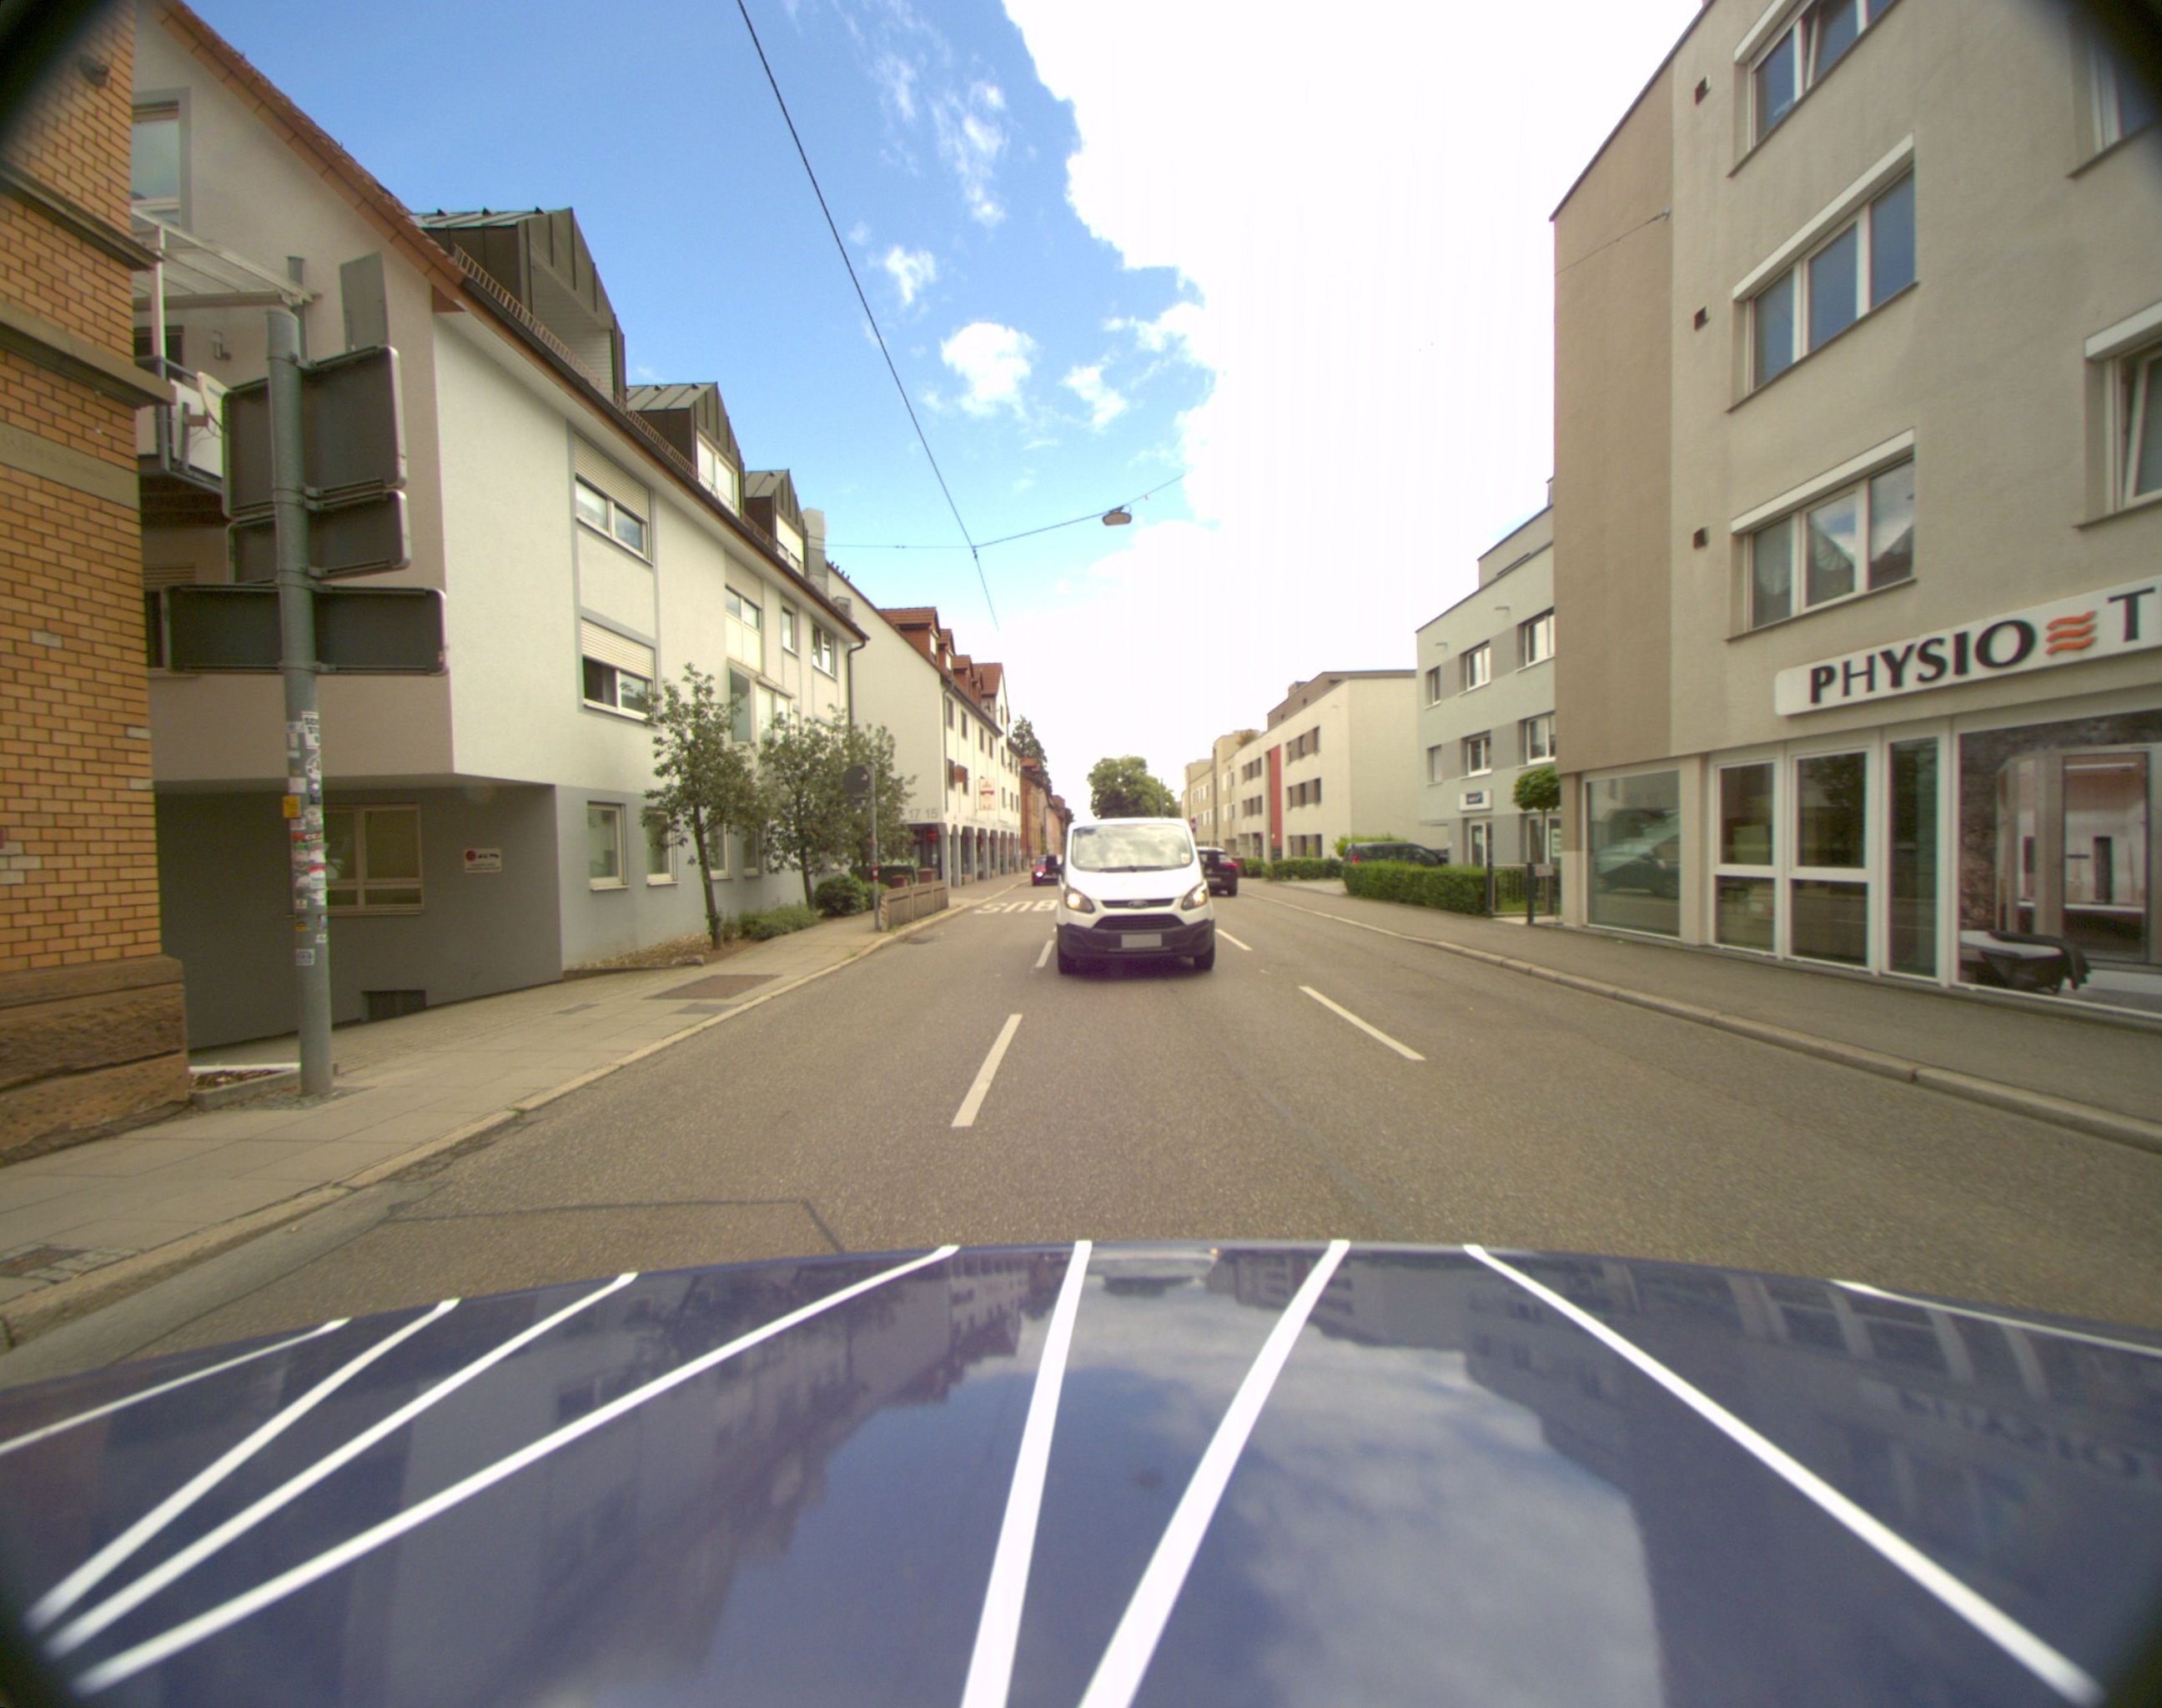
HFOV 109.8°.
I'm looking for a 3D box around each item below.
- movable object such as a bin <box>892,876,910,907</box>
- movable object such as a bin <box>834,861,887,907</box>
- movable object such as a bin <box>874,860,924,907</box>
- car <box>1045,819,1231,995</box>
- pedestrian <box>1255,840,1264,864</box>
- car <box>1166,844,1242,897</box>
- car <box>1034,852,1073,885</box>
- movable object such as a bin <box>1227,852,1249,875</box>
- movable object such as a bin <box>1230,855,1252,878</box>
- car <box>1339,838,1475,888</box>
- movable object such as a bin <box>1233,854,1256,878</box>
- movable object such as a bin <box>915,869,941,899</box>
[{"bbox_3d":[-5.578,1.168,23.575,0.431,0.915,0.465,-1,1,2],"label":"movable object such as a bin"},{"bbox_3d":[-7.176,0.957,24.820,1.270,1.426,1.307,-1,1,2],"label":"movable object such as a bin"},{"bbox_3d":[-5.830,0.934,24.391,1.270,1.409,1.162,-1,1,2],"label":"movable object such as a bin"},{"bbox_3d":[0.677,0.580,11.119,2.062,1.946,5.060,-1,1,1],"label":"car"},{"bbox_3d":[12.474,-0.124,53.035,0.519,1.633,0.641,-1,1,17],"label":"pedestrian"},{"bbox_3d":[4.271,0.509,27.113,1.998,1.729,4.553,0,1,1],"label":"car"},{"bbox_3d":[-1.327,0.690,37.921,1.755,1.485,3.986,-1,1,1],"label":"car"},{"bbox_3d":[8.195,0.487,39.684,0.959,1.144,0.840,-1,1,-3],"label":"movable object such as a bin"},{"bbox_3d":[8.159,0.616,38.791,0.951,1.144,0.749,-1,1,-3],"label":"movable object such as a bin"},{"bbox_3d":[11.622,0.298,27.314,4.172,1.658,1.725,-1,1,5],"label":"car"},{"bbox_3d":[8.192,0.586,38.080,0.943,1.144,0.612,-1,1,-3],"label":"movable object such as a bin"},{"bbox_3d":[-5.702,1.122,28.315,0.685,1.061,0.972,-1,1,5],"label":"movable object such as a bin"}]
